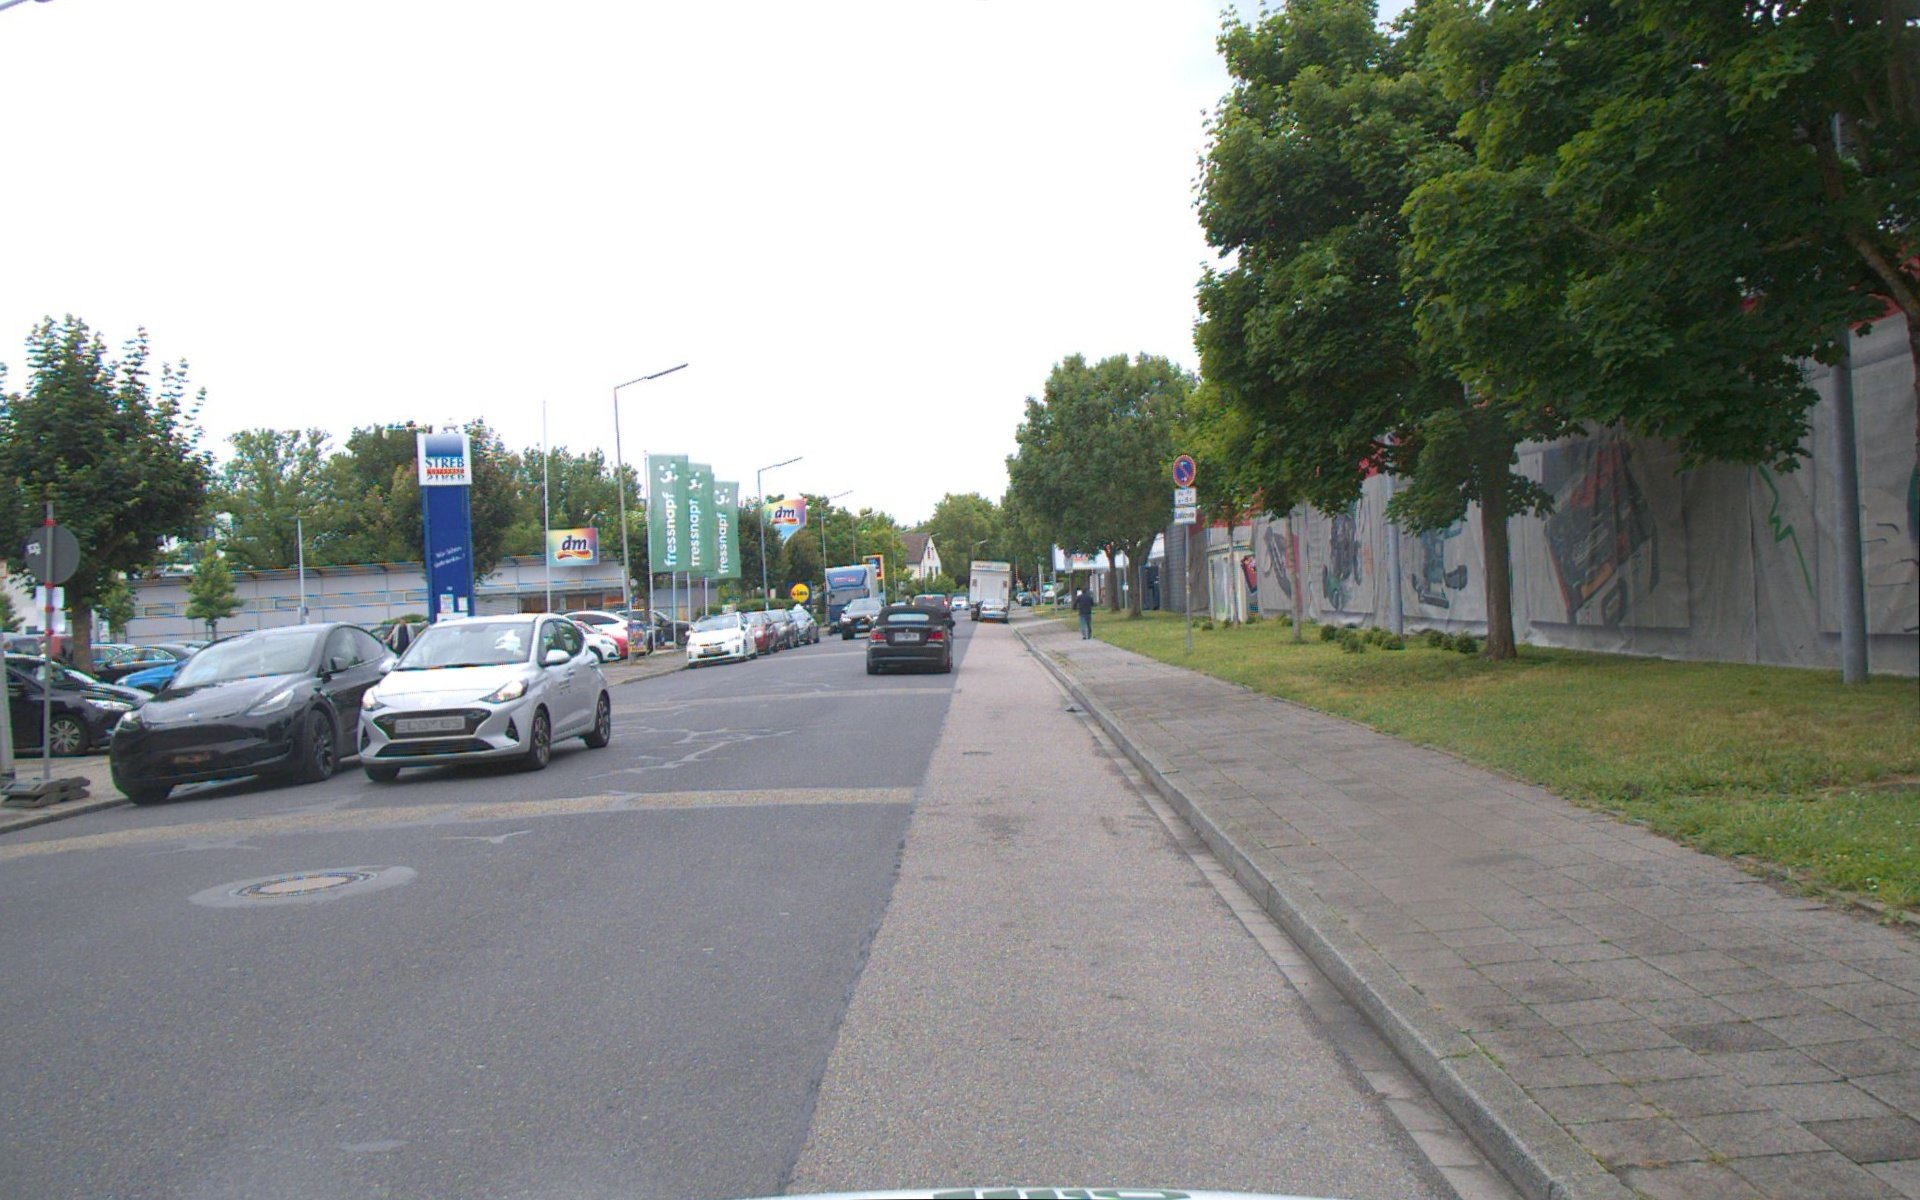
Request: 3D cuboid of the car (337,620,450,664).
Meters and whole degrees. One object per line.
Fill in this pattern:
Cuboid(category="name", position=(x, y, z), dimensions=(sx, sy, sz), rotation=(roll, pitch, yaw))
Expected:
Cuboid(category="car", position=(-23.222, 1.711, 67.883), dimensions=(3.905, 1.518, 1.786), rotation=(-3, 0, 1))

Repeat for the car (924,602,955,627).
Cuboid(category="car", position=(-1.329, 0.932, 109.873), dimensions=(1.847, 1.558, 4.255), rotation=(-1, 0, 2))

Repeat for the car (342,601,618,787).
Cuboid(category="car", position=(-4.684, 0.857, 16.648), dimensions=(1.566, 1.554, 3.528), rotation=(-5, -1, 1))

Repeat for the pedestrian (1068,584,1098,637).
Cuboid(category="pedestrian", position=(3.910, 0.327, 52.705), dimensions=(0.900, 1.663, 0.853), rotation=(-2, -1, 3))

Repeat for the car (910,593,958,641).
Cuboid(category="car", position=(-0.998, 0.621, 62.878), dimensions=(1.647, 1.660, 3.757), rotation=(-3, 0, -2))

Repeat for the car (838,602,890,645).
Cuboid(category="car", position=(-4.061, 1.001, 70.248), dimensions=(1.953, 1.713, 3.999), rotation=(-2, -1, 0))

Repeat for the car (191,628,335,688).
Cuboid(category="car", position=(-23.155, 1.911, 55.050), dimensions=(3.905, 1.698, 1.876), rotation=(-3, 0, 1))

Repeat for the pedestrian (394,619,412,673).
Cuboid(category="pedestrian", position=(-17.748, 1.460, 52.749), dimensions=(0.448, 1.670, 0.373), rotation=(-3, 0, -17))

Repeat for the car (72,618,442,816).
Cuboid(category="car", position=(-7.191, 1.105, 17.495), dimensions=(1.908, 1.552, 4.402), rotation=(-7, 0, -1))

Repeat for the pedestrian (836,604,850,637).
Cuboid(category="pedestrian", position=(-6.006, 1.042, 84.840), dimensions=(0.618, 1.665, 0.668), rotation=(-3, 0, 0))

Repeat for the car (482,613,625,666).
Cuboid(category="car", position=(-12.834, 1.229, 52.451), dimensions=(4.123, 1.489, 1.950), rotation=(-2, 0, -7))

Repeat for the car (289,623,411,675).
Cuboid(category="car", position=(-23.498, 1.883, 63.831), dimensions=(3.905, 1.698, 1.876), rotation=(-3, 0, 1))

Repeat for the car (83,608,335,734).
Cuboid(category="car", position=(-14.111, 1.306, 31.267), dimensions=(3.854, 2.048, 1.759), rotation=(-4, 0, -6))

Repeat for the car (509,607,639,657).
Cuboid(category="car", position=(-13.346, 1.095, 57.340), dimensions=(4.055, 1.488, 1.897), rotation=(-3, 0, -5))

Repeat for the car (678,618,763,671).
Cuboid(category="car", position=(-7.224, 1.306, 50.143), dimensions=(1.859, 1.391, 4.000), rotation=(-3, 0, 1))

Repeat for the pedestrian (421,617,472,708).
Cuboid(category="pedestrian", position=(-10.163, 1.222, 32.743), dimensions=(0.760, 1.745, 0.696), rotation=(-2, 0, -3))

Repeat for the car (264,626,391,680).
Cuboid(category="car", position=(-23.436, 1.966, 61.376), dimensions=(3.905, 1.698, 1.876), rotation=(-3, 0, 1))

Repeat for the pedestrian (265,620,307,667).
Cuboid(category="pedestrian", position=(-30.600, 1.966, 75.079), dimensions=(1.374, 2.048, 1.194), rotation=(-3, 0, -39))

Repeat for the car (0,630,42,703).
Cuboid(category="car", position=(-24.722, 1.698, 39.981), dimensions=(3.905, 1.698, 1.876), rotation=(-3, 0, 1))

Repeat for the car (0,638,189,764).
Cuboid(category="car", position=(-13.537, 1.455, 23.939), dimensions=(3.793, 1.649, 1.928), rotation=(-2, 0, 1))

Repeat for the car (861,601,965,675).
Cuboid(category="car", position=(-0.933, 0.767, 34.759), dimensions=(1.709, 1.382, 4.140), rotation=(-3, -1, 4))

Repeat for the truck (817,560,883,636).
Cuboid(category="truck", position=(-6.307, -0.090, 95.789), dimensions=(2.913, 4.024, 6.405), rotation=(-4, 0, 1))

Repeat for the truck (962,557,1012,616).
Cuboid(category="truck", position=(1.724, -0.836, 110.140), dimensions=(3.071, 3.647, 10.049), rotation=(-2, -1, 0))

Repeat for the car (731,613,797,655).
Cuboid(category="car", position=(-7.333, 1.268, 62.197), dimensions=(1.859, 1.391, 4.000), rotation=(-3, 0, 1))

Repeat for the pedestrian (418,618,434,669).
Cuboid(category="pedestrian", position=(-17.073, 1.381, 52.893), dimensions=(0.352, 1.597, 0.503), rotation=(-3, 0, -10))

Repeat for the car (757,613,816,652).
Cuboid(category="car", position=(-7.118, 1.319, 68.145), dimensions=(1.859, 1.391, 4.000), rotation=(-3, 0, 1))

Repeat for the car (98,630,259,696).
Cuboid(category="car", position=(-23.667, 1.908, 50.209), dimensions=(3.905, 1.698, 1.876), rotation=(-3, 0, 1))

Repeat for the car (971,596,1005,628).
Cuboid(category="car", position=(1.696, 0.744, 100.787), dimensions=(1.953, 1.837, 3.999), rotation=(-2, -1, 0))

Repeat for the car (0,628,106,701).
Cuboid(category="car", position=(-24.440, 1.707, 42.502), dimensions=(3.905, 1.698, 1.876), rotation=(-3, 0, 1))

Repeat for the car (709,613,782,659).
Cuboid(category="car", position=(-7.314, 1.215, 56.692), dimensions=(1.859, 1.391, 4.000), rotation=(-3, 0, 1))

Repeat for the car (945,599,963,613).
Cuboid(category="car", position=(-0.605, 0.642, 184.488), dimensions=(1.847, 1.558, 4.255), rotation=(-1, 0, 2))
